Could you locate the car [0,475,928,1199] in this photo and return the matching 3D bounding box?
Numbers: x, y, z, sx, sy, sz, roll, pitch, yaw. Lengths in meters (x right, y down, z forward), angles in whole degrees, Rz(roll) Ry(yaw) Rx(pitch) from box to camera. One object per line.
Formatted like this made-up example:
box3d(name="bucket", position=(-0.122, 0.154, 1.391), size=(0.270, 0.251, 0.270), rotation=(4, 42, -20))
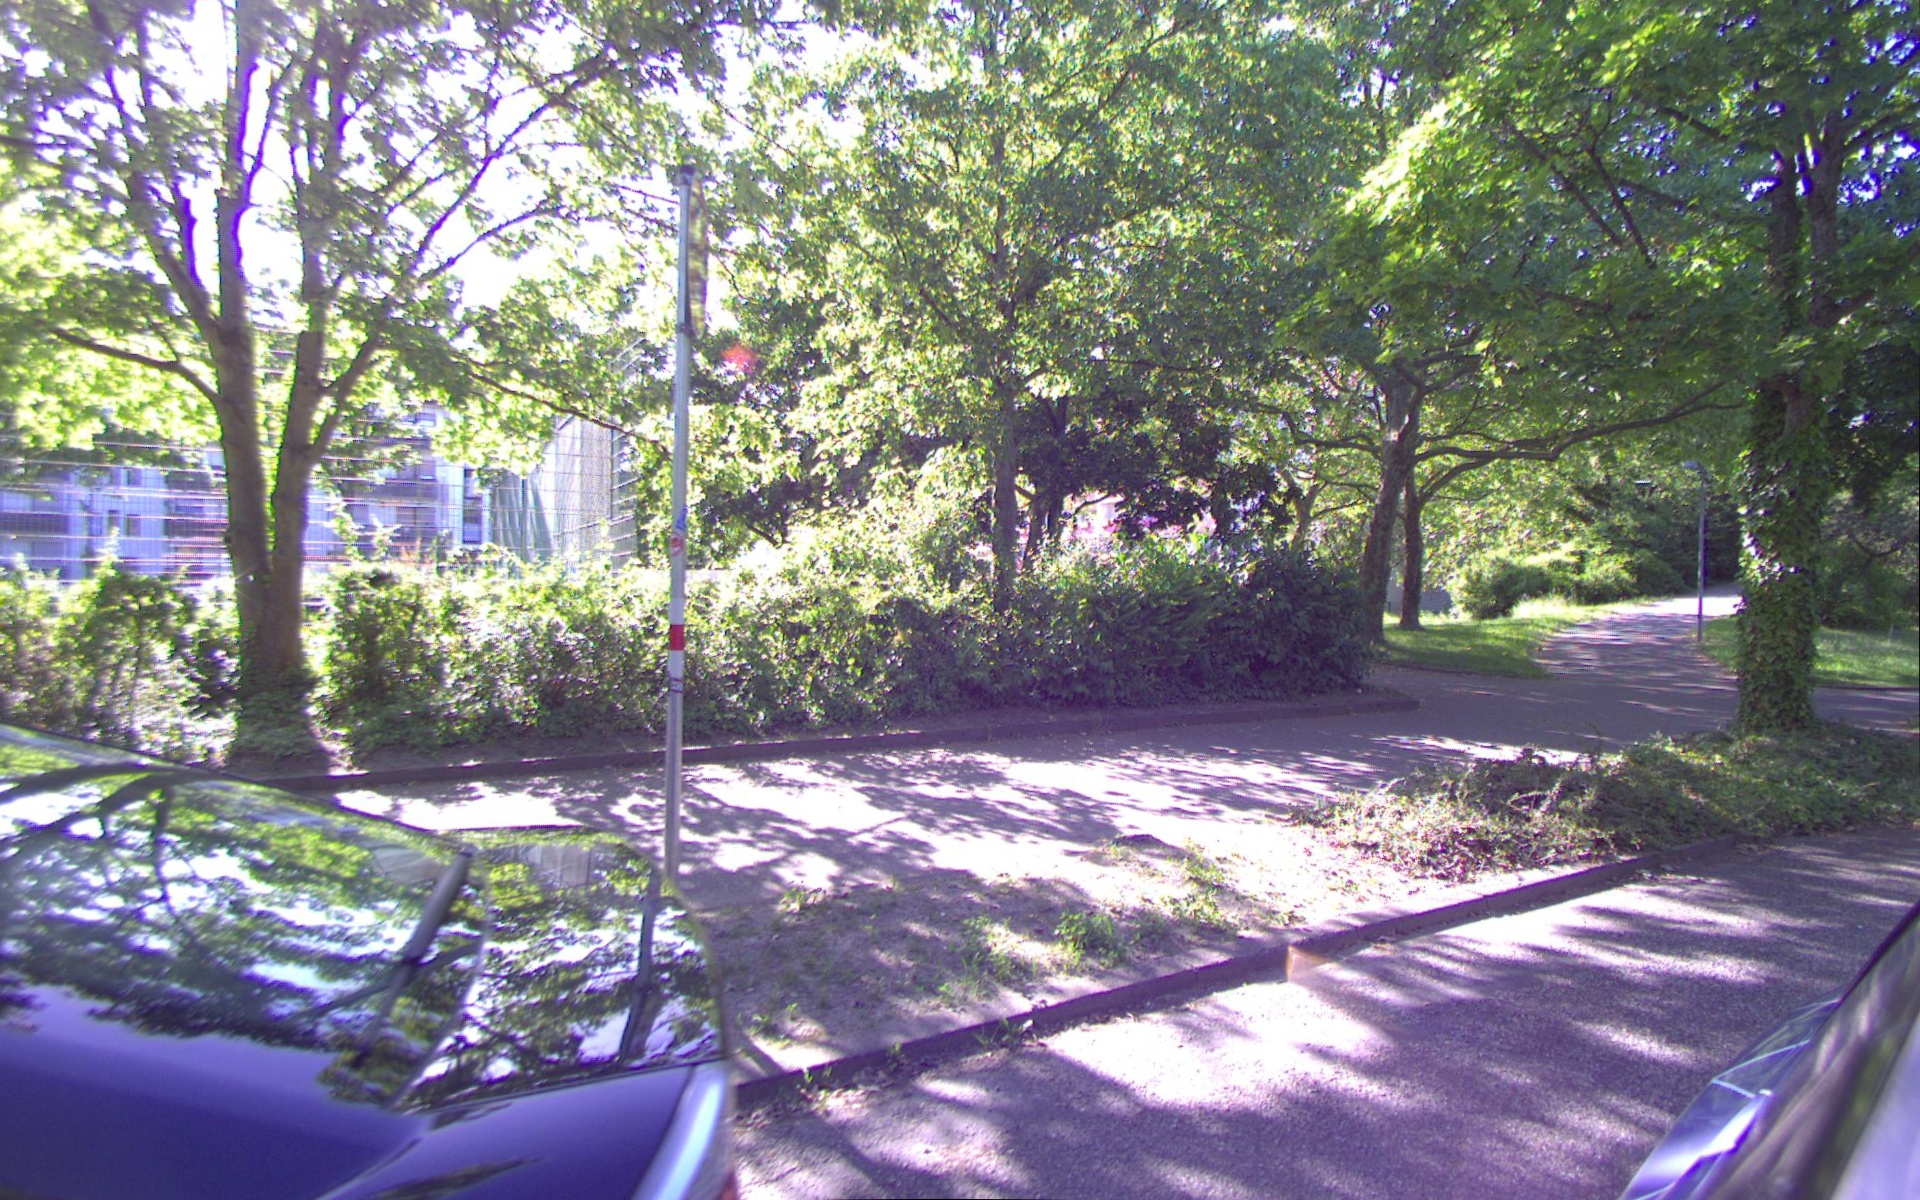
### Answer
box3d(name="car", position=(-2.168, 0.705, 0.575), size=(3.949, 1.499, 1.756), rotation=(-1, 0, -28))
